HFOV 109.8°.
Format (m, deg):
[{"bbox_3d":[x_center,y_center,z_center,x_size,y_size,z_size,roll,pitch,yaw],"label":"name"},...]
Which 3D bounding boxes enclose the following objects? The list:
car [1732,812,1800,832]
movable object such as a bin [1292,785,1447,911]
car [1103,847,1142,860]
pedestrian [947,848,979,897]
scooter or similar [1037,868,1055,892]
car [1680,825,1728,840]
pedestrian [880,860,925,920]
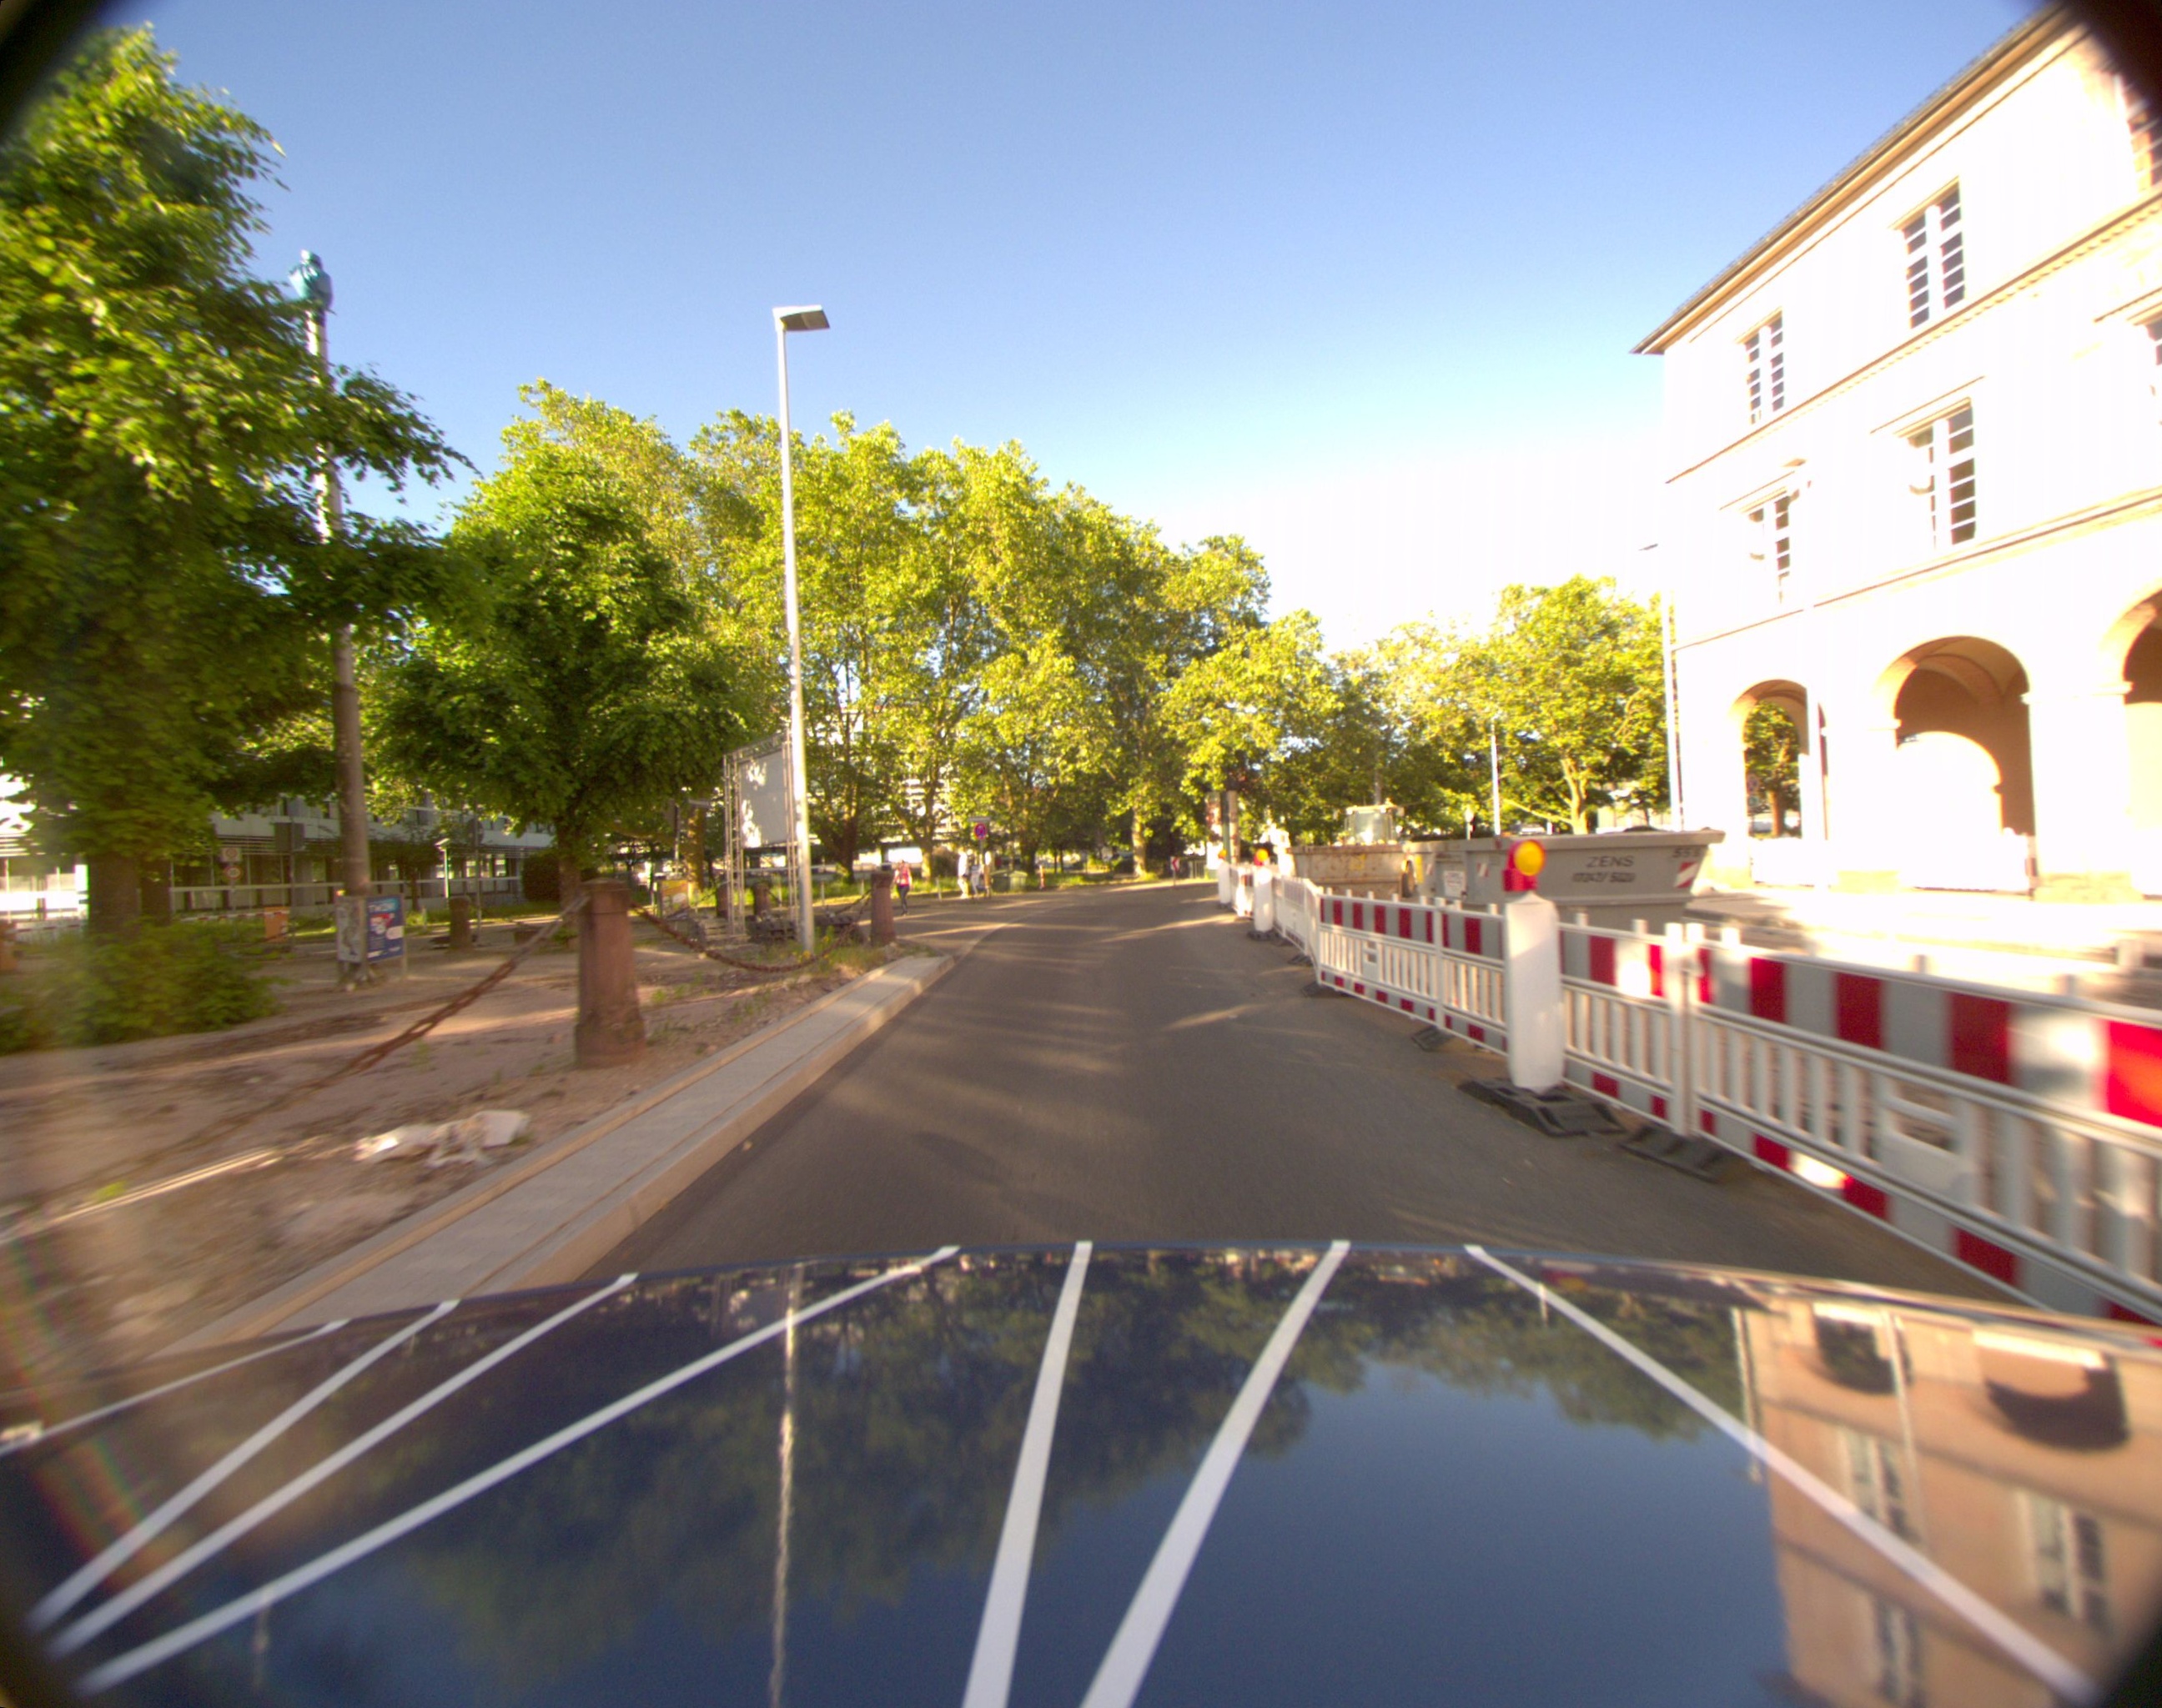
[{"bbox_3d":[68.809,-3.194,76.409,2.109,1.818,4.715,-2,0,-10],"label":"car"},{"bbox_3d":[8.296,-0.217,21.401,2.560,3.014,5.942,-1,1,36],"label":"movable object such as a bin"},{"bbox_3d":[5.383,-0.081,98.300,4.657,1.466,2.013,-2,-1,-8],"label":"car"},{"bbox_3d":[-4.494,0.697,28.879,1.134,1.801,0.747,-2,-1,-10],"label":"pedestrian"},{"bbox_3d":[-1.398,1.043,30.559,0.420,0.909,1.149,-4,2,-15],"label":"scooter or similar"},{"bbox_3d":[67.679,-2.276,82.566,1.630,1.476,3.847,-2,0,-10],"label":"car"},{"bbox_3d":[-5.054,0.993,21.499,0.940,1.614,0.709,-4,1,-40],"label":"pedestrian"}]
